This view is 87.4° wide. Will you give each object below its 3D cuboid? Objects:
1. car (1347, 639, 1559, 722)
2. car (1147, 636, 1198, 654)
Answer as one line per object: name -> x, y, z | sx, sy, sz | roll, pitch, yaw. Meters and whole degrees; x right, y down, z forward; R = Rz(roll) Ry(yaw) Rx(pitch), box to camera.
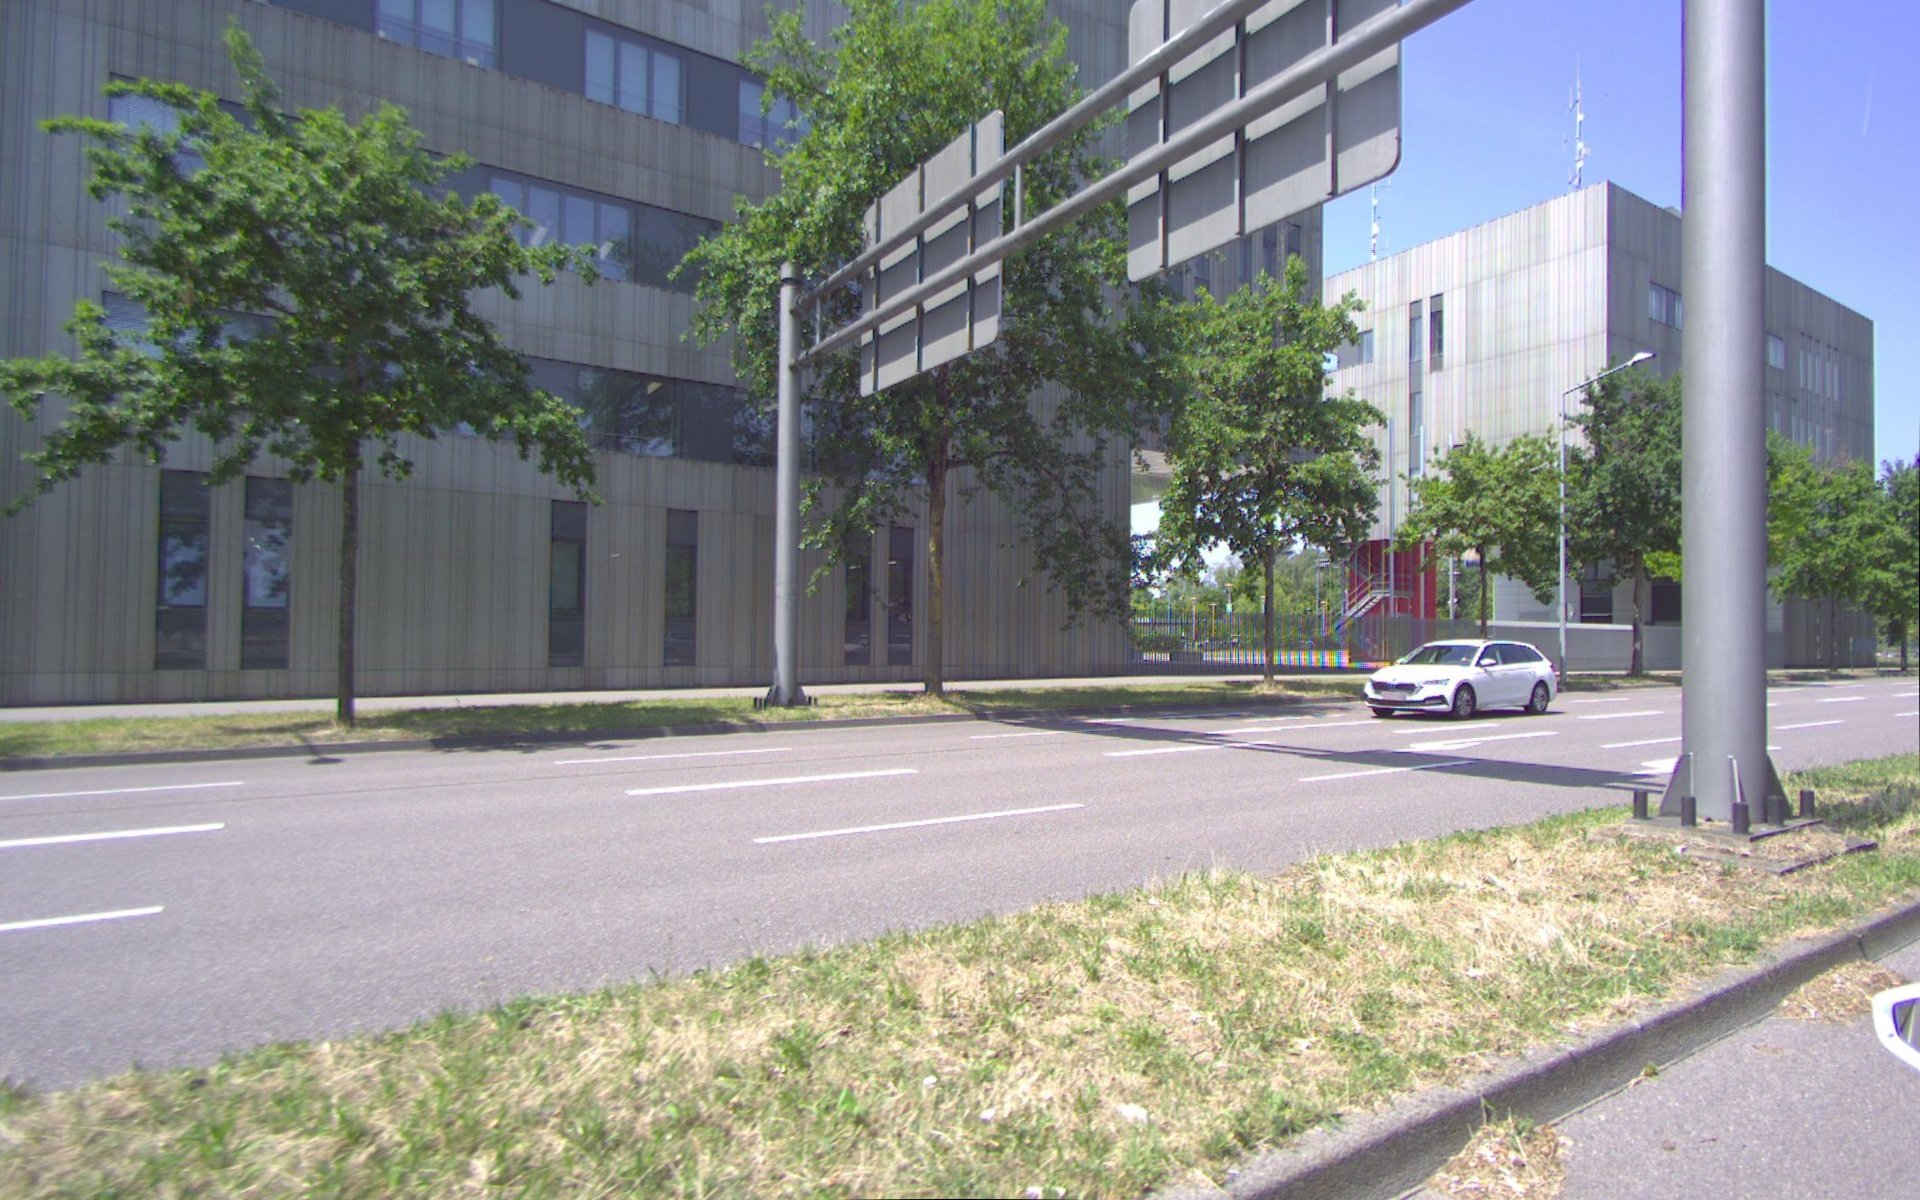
car -> 9.578, 1.490, 19.405 | 4.315, 1.446, 1.799 | 2, -3, -35
car -> 19.630, 4.158, 92.756 | 4.471, 1.602, 2.013 | 1, -2, -31
